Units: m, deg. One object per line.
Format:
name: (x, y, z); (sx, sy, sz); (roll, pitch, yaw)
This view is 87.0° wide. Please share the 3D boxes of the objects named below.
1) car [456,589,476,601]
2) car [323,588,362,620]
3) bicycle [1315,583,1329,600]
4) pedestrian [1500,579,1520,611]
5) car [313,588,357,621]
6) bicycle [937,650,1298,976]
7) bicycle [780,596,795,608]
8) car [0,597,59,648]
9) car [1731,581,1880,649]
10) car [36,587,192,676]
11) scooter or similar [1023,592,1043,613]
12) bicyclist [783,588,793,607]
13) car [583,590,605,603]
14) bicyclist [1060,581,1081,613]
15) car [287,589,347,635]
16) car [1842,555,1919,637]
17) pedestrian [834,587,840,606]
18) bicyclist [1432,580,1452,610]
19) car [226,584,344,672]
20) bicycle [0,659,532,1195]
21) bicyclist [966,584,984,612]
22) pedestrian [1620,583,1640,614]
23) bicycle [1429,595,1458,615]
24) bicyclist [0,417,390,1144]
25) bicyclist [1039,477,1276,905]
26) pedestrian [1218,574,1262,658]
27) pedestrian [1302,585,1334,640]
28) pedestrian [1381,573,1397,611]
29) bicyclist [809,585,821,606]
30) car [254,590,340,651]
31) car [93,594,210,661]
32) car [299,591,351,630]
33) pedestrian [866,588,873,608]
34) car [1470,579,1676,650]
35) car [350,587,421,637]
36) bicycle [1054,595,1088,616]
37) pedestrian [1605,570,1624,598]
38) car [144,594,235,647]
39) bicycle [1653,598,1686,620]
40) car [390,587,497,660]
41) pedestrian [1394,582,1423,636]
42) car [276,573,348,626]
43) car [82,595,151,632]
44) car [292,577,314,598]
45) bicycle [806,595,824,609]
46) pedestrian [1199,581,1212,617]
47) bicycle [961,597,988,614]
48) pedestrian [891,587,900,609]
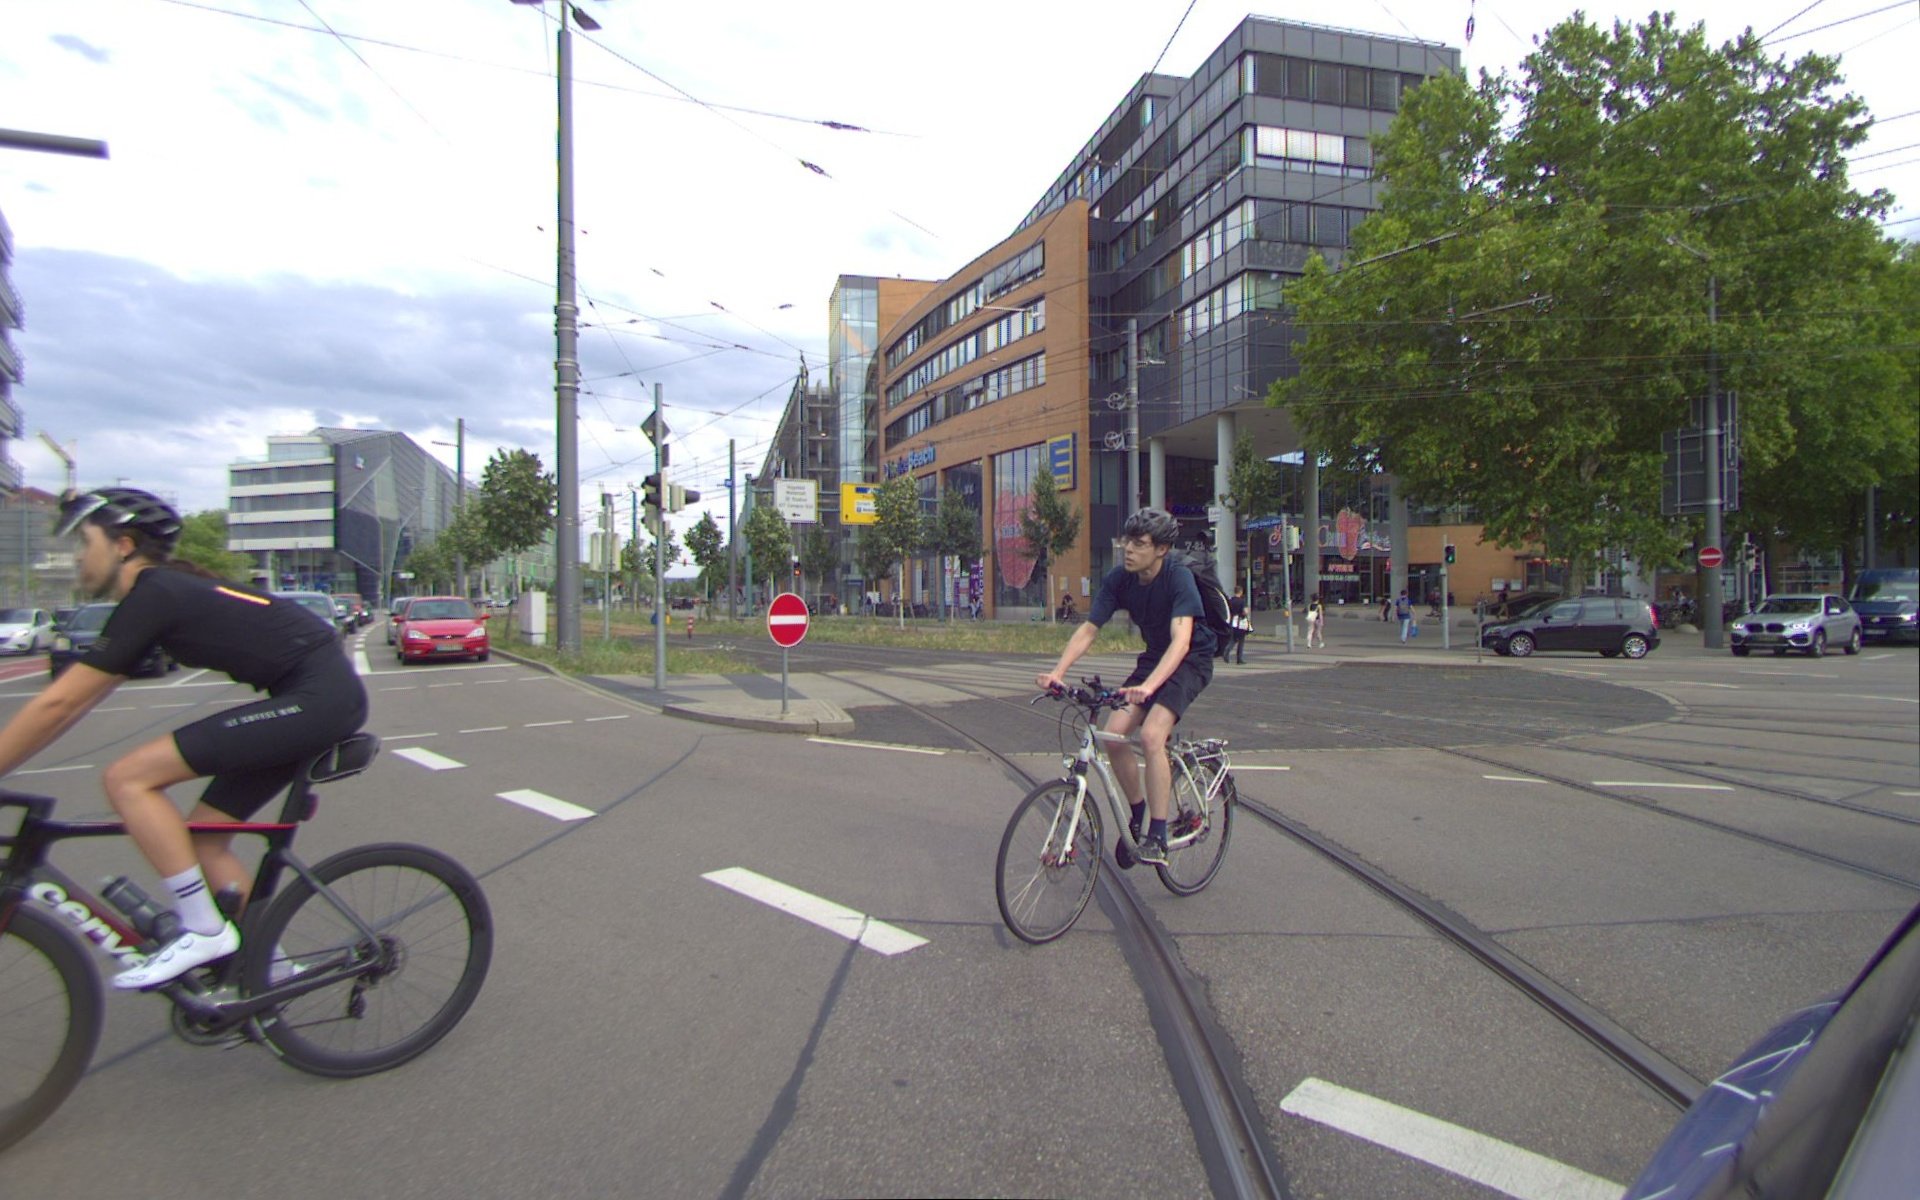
car: (-75.964, -0.800, 155.698); (1.958, 1.772, 4.172); (0, 0, -14)
car: (-34.829, 0.207, 57.062); (1.787, 1.687, 4.413); (-2, 1, -32)
bicycle: (20.221, -0.488, 56.519); (0.528, 0.928, 1.558); (0, 1, 12)
pedestrian: (29.709, -0.265, 54.655); (0.730, 1.753, 0.587); (0, 0, 4)
car: (-31.592, 0.206, 51.160); (1.787, 1.552, 4.003); (-2, 1, -32)
bicycle: (0.791, 0.850, 4.672); (1.825, 1.153, 0.595); (0, 0, -40)
bicycle: (-14.044, 0.161, 82.453); (0.526, 0.946, 1.794); (-1, 1, -33)
car: (-29.569, 0.655, 31.371); (1.787, 1.479, 4.003); (0, 1, -32)
car: (22.776, 0.378, 27.213); (4.551, 1.682, 1.964); (0, -2, -36)
car: (-16.507, 0.528, 19.958); (1.787, 1.552, 4.003); (-1, 1, -32)
scooter or similar: (4.218, 0.142, 58.519); (0.476, 1.182, 1.477); (0, 1, -27)
bicyclist: (-14.042, -0.206, 82.444); (0.523, 1.460, 0.844); (0, 0, -33)
car: (-46.527, -0.439, 128.845); (1.729, 1.640, 4.005); (0, 1, -6)
bicyclist: (5.759, -0.141, 52.684); (0.625, 1.636, 0.979); (0, 0, -33)
car: (-23.989, 0.408, 37.841); (1.787, 1.552, 4.003); (-2, 1, -32)
car: (31.427, -0.130, 33.348); (6.867, 2.487, 2.175); (0, 0, -37)
pedestrian: (-10.531, -0.296, 86.703); (0.437, 1.619, 0.486); (0, 0, -23)
bicyclist: (23.580, -0.254, 49.521); (0.723, 1.451, 0.532); (0, 0, -30)
car: (-13.608, 0.482, 20.579); (1.787, 1.552, 4.223); (-2, 1, -32)
bicycle: (-2.148, 0.789, 2.770); (1.704, 1.153, 0.595); (0, 0, -40)
bicyclist: (0.906, -0.126, 60.701); (0.625, 1.636, 0.979); (-1, 1, -33)
pedestrian: (34.114, -0.090, 51.521); (0.669, 1.529, 0.588); (-1, 1, -28)
bicycle: (23.705, 0.238, 49.587); (1.510, 0.928, 0.536); (-1, 0, -30)
bicyclist: (-2.182, 0.412, 2.742); (1.016, 1.675, 0.591); (0, 0, -40)
bicyclist: (0.949, 0.379, 4.798); (1.016, 1.793, 0.591); (0, 0, -40)
pedestrian: (6.117, 0.336, 22.125); (0.657, 1.814, 0.678); (0, 0, -38)
pedestrian: (10.990, 0.382, 31.041); (0.729, 1.672, 0.588); (0, 0, -32)
pedestrian: (21.439, -0.380, 50.614); (0.504, 1.890, 0.547); (0, 0, -13)
bicyclist: (-11.402, -0.352, 79.611); (0.625, 1.636, 0.979); (0, 0, -33)
car: (-17.707, 0.488, 27.170); (1.787, 1.479, 4.003); (-2, 1, -32)
car: (-20.253, 0.627, 25.520); (1.787, 1.479, 4.003); (-2, 1, -32)
car: (-27.099, 0.419, 43.246); (1.787, 1.552, 4.003); (-2, 1, -32)
pedestrian: (-7.294, -0.182, 81.167); (0.475, 1.619, 0.448); (0, 0, -16)
car: (15.801, 0.360, 26.309); (4.113, 1.760, 1.959); (0, 0, 11)
car: (-18.212, 0.337, 32.009); (1.787, 1.451, 4.003); (-2, 1, -32)
bicycle: (5.759, 0.273, 52.678); (0.625, 1.024, 2.006); (0, 0, -32)
pedestrian: (36.610, -0.911, 56.621); (0.668, 1.529, 0.589); (-1, 1, -16)
car: (-23.527, 0.567, 31.022); (1.787, 1.479, 4.003); (-2, 1, -32)
bicycle: (31.041, 0.372, 44.268); (1.688, 0.928, 0.536); (-1, 0, -30)
car: (-11.621, 0.456, 22.649); (1.787, 1.451, 4.003); (-2, 1, -32)
pedestrian: (14.927, 0.293, 33.670); (0.729, 1.753, 0.588); (0, 0, -32)
car: (-20.626, -0.031, 32.311); (1.787, 1.552, 4.003); (-2, 1, -32)
car: (-36.987, 0.550, 44.460); (1.754, 1.479, 4.003); (-2, 1, -32)
car: (-65.783, -1.237, 101.342); (1.787, 2.045, 4.003); (0, 0, -32)
bicycle: (-11.422, 0.151, 79.622); (0.626, 1.024, 2.006); (0, 1, -33)
pedestrian: (12.945, -0.058, 53.404); (0.617, 1.890, 0.670); (0, 0, 15)
bicycle: (0.890, 0.315, 60.720); (0.626, 1.024, 2.006); (-1, 1, -32)
pedestrian: (-4.847, -0.133, 76.355); (0.603, 1.619, 0.448); (0, 0, -16)
